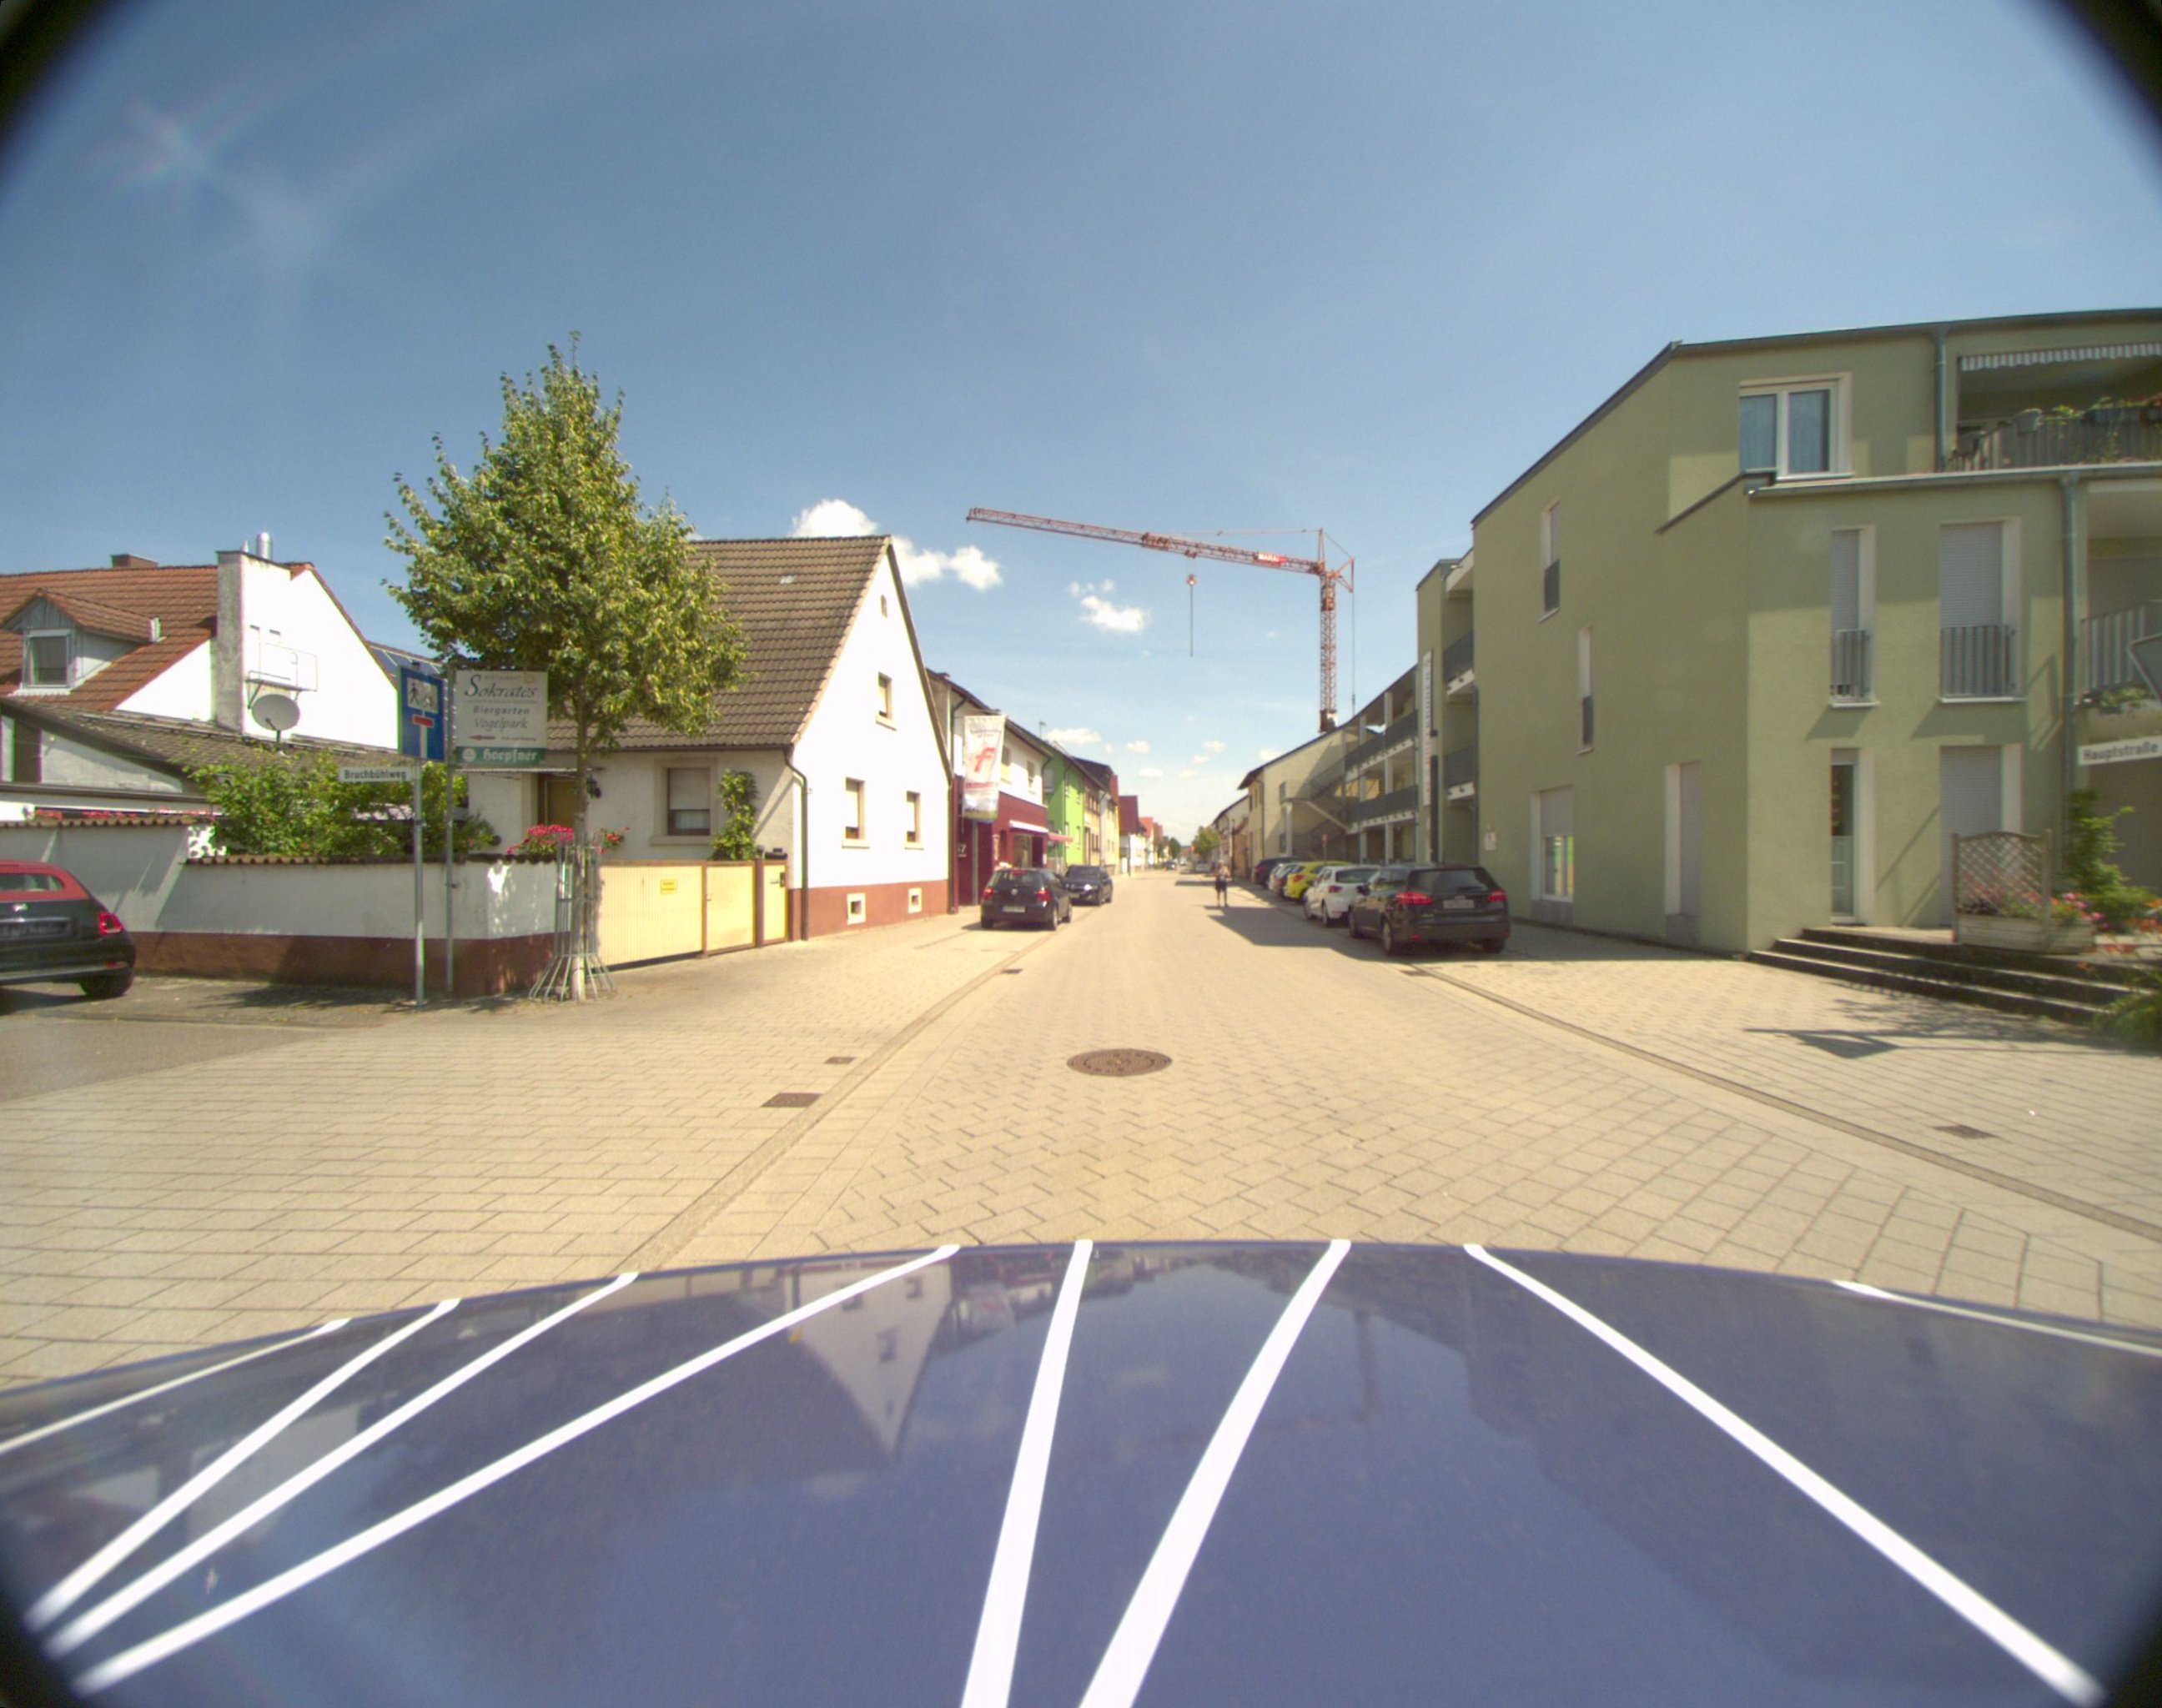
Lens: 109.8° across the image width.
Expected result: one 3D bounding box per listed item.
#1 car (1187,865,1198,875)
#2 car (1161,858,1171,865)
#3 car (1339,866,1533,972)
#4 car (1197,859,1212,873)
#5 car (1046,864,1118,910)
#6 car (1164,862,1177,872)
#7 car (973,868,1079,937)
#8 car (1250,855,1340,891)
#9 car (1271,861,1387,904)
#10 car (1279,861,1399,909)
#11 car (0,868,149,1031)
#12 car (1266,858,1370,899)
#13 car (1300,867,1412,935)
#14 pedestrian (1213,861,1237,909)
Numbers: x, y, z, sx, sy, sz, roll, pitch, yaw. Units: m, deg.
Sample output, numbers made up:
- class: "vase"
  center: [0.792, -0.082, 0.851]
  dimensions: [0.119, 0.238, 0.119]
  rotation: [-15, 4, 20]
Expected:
- class: "car"
  center: [18.491, 2.685, 126.258]
  dimensions: [1.751, 1.557, 3.957]
  rotation: [0, 0, 7]
- class: "car"
  center: [16.518, 1.424, 147.581]
  dimensions: [1.725, 1.420, 3.821]
  rotation: [0, 0, 9]
- class: "car"
  center: [5.899, 0.995, 13.235]
  dimensions: [1.817, 1.481, 4.280]
  rotation: [-2, -1, 8]
- class: "car"
  center: [14.337, 1.413, 87.976]
  dimensions: [1.575, 1.552, 2.824]
  rotation: [-3, 0, 10]
- class: "car"
  center: [0.133, 1.148, 28.045]
  dimensions: [1.861, 1.450, 4.589]
  rotation: [2, 0, 10]
- class: "car"
  center: [14.741, 2.097, 124.381]
  dimensions: [1.956, 1.521, 4.003]
  rotation: [0, 0, 9]
- class: "car"
  center: [-1.206, 1.089, 18.653]
  dimensions: [1.762, 1.430, 4.122]
  rotation: [1, 0, 8]
- class: "car"
  center: [11.075, 0.974, 39.552]
  dimensions: [4.227, 1.648, 1.785]
  rotation: [-2, 0, 8]
- class: "car"
  center: [9.577, 1.105, 29.595]
  dimensions: [3.995, 1.433, 1.692]
  rotation: [-3, 0, 7]
- class: "car"
  center: [9.144, 1.086, 27.154]
  dimensions: [3.700, 1.516, 1.673]
  rotation: [-3, 0, 3]
- class: "car"
  center: [-12.045, 0.911, 7.720]
  dimensions: [3.808, 1.510, 1.681]
  rotation: [0, 0, 12]
- class: "car"
  center: [9.978, 1.018, 32.242]
  dimensions: [3.908, 1.493, 1.752]
  rotation: [-3, -1, 9]
- class: "car"
  center: [6.652, 1.086, 18.790]
  dimensions: [1.761, 1.402, 3.880]
  rotation: [-2, -1, 8]
- class: "pedestrian"
  center: [4.977, 1.073, 26.340]
  dimensions: [0.748, 1.630, 0.732]
  rotation: [-2, 0, 8]
